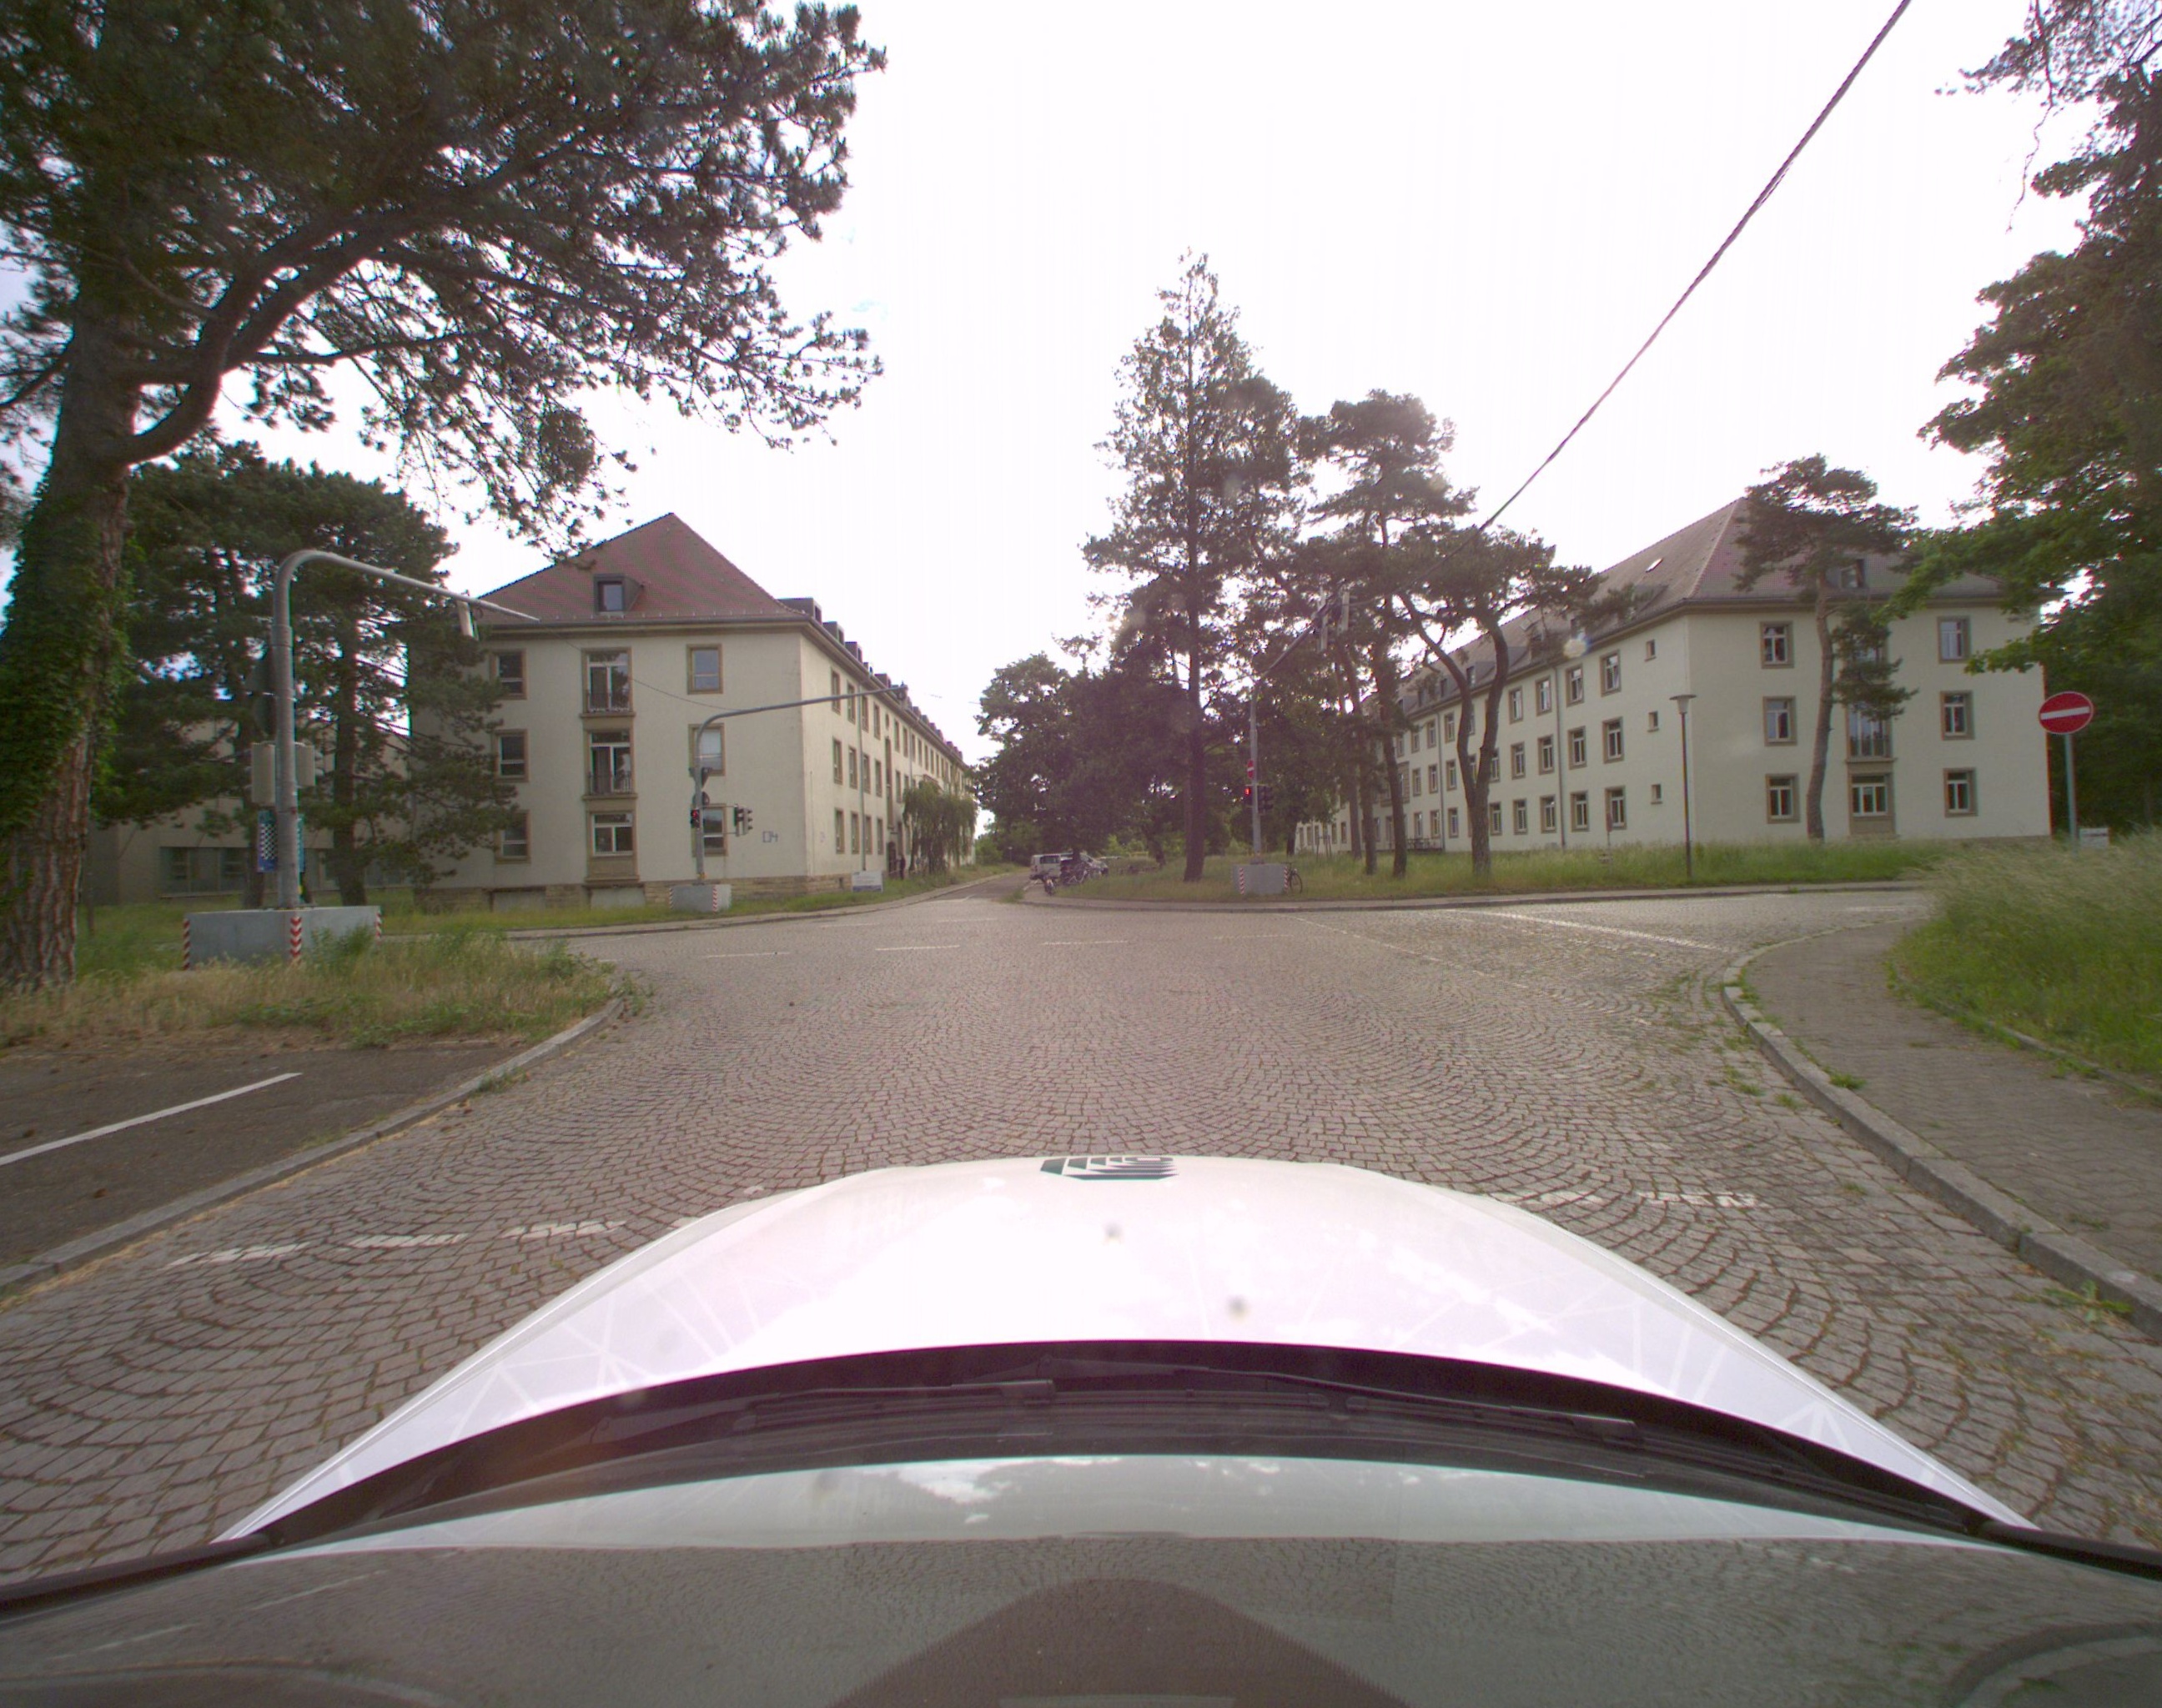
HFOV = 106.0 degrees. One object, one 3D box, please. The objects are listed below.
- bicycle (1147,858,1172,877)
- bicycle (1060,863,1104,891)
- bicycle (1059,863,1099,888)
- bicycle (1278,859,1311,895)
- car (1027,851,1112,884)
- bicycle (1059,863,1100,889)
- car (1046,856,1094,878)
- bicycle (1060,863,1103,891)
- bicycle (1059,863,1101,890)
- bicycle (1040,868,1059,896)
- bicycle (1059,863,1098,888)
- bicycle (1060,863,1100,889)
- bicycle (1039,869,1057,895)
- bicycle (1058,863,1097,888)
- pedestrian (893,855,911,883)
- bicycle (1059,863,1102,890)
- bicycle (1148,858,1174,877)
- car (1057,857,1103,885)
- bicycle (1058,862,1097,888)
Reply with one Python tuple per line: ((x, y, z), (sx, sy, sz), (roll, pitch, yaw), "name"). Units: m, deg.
((5.002, 0.846, 51.937), (1.544, 1.125, 0.401), (-2, -1, 0), "bicycle")
((0.035, 1.038, 36.990), (1.978, 1.248, 0.623), (-1, -1, -3), "bicycle")
((-0.115, 1.100, 41.636), (1.978, 1.248, 0.623), (-1, -1, -3), "bicycle")
((6.468, 0.667, 24.771), (0.578, 0.970, 1.679), (-4, 1, 3), "bicycle")
((-0.792, 0.890, 55.067), (5.316, 1.916, 2.138), (-2, 0, -16), "car")
((-0.066, 1.079, 40.034), (1.978, 1.248, 0.623), (-1, -1, -3), "bicycle")
((-0.946, 1.094, 68.947), (4.022, 1.718, 1.679), (-2, -1, -3), "car")
((0.016, 1.047, 37.619), (1.978, 1.248, 0.623), (-1, -1, -3), "bicycle")
((-0.052, 1.071, 39.402), (1.978, 1.248, 0.623), (-1, -1, -3), "bicycle")
((-1.302, 1.147, 33.573), (0.620, 1.113, 1.989), (-1, -1, 2), "bicycle")
((-0.154, 1.107, 42.148), (1.978, 1.248, 0.623), (-1, -1, -3), "bicycle")
((-0.066, 1.086, 40.560), (1.978, 1.248, 0.623), (-1, -1, -3), "bicycle")
((-1.428, 1.190, 35.523), (0.620, 1.082, 1.679), (-1, -1, 3), "bicycle")
((-0.185, 1.114, 42.641), (1.978, 1.248, 0.623), (-1, -1, -3), "bicycle")
((-11.522, 0.963, 52.552), (0.833, 1.781, 0.942), (-2, -1, 4), "pedestrian")
((-0.026, 1.059, 38.544), (1.978, 1.248, 0.623), (-1, -1, -3), "bicycle")
((4.962, 0.834, 50.705), (1.544, 1.125, 0.401), (-2, -1, 0), "bicycle")
((-0.079, 1.064, 51.611), (2.840, 1.558, 1.471), (-3, 1, -2), "car")
((-0.206, 1.123, 43.300), (1.978, 1.248, 0.623), (-3, -1, -4), "bicycle")
